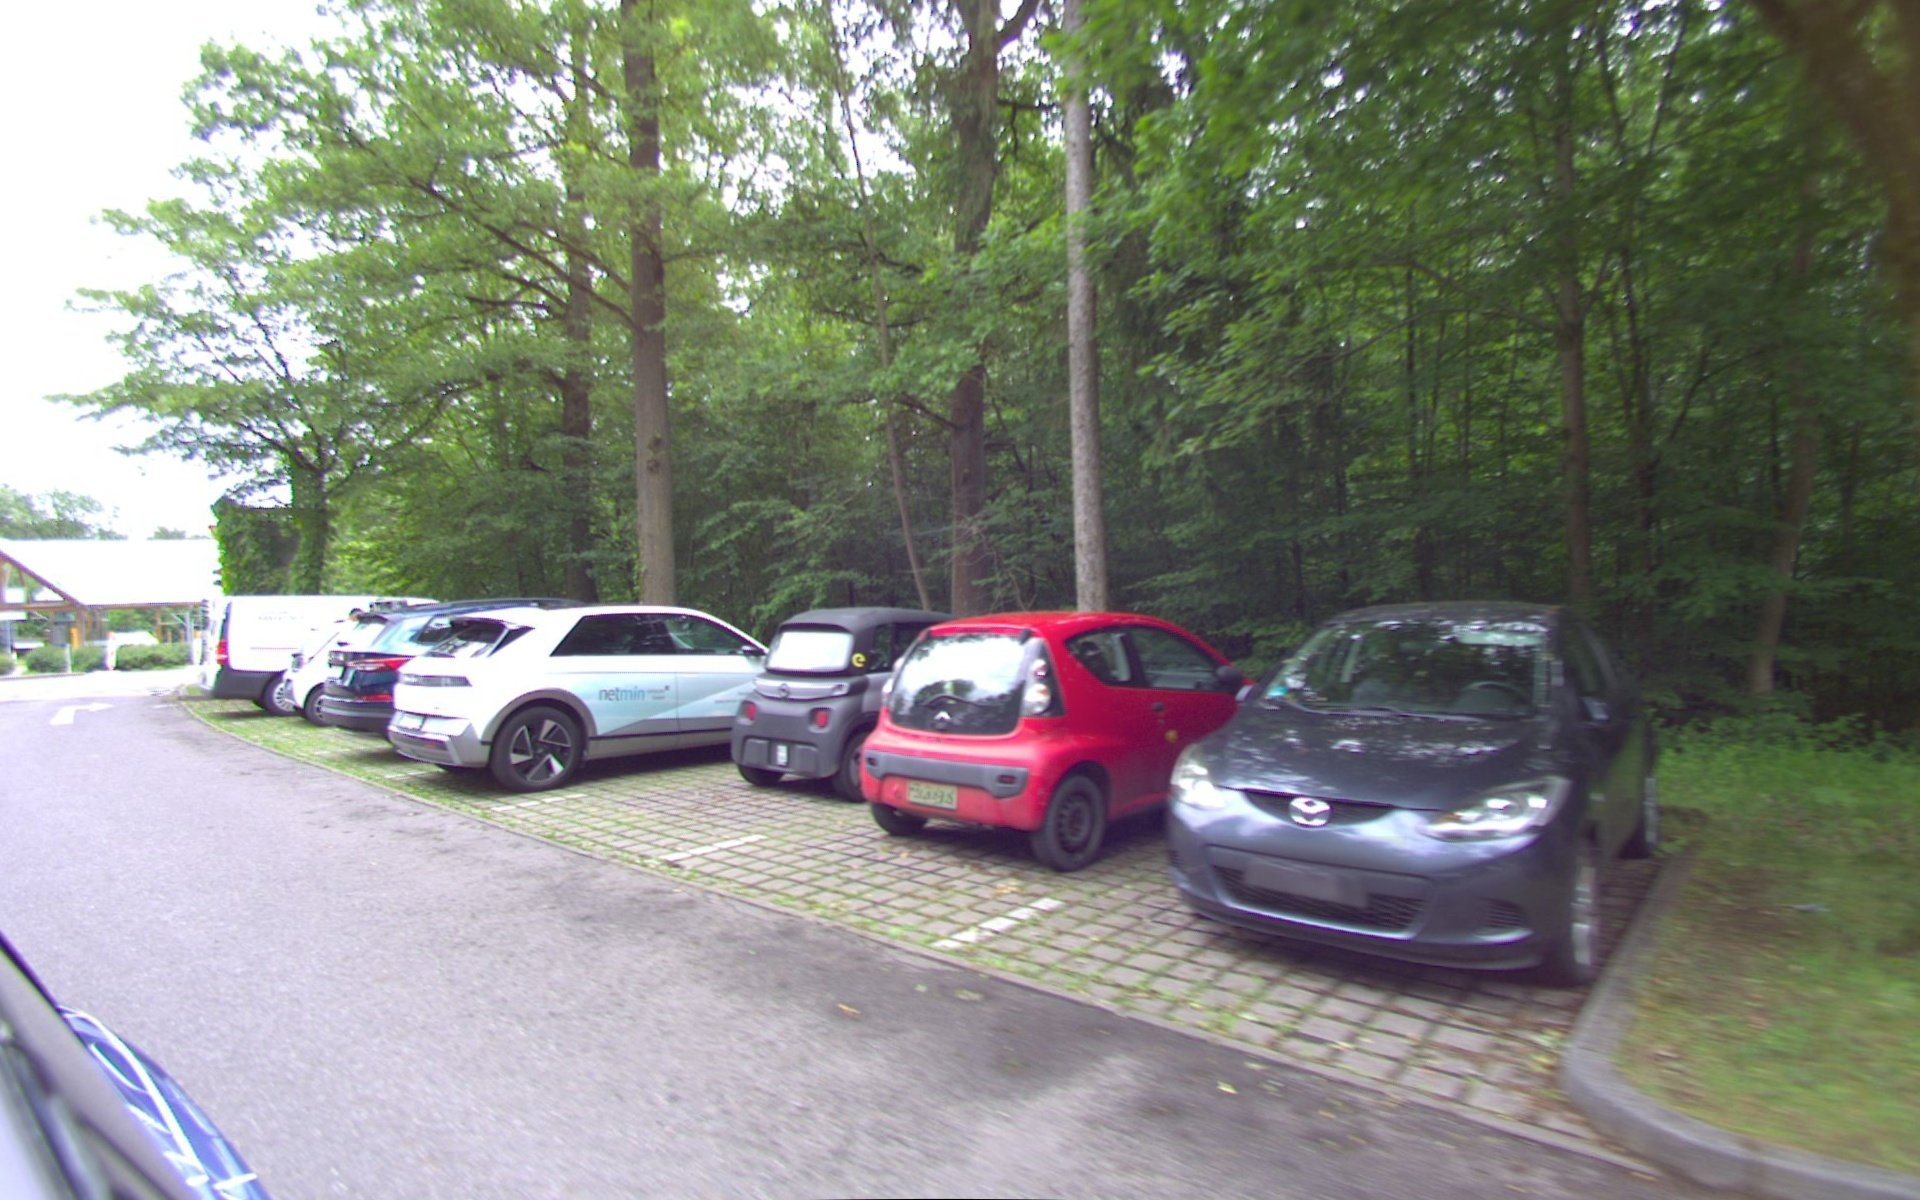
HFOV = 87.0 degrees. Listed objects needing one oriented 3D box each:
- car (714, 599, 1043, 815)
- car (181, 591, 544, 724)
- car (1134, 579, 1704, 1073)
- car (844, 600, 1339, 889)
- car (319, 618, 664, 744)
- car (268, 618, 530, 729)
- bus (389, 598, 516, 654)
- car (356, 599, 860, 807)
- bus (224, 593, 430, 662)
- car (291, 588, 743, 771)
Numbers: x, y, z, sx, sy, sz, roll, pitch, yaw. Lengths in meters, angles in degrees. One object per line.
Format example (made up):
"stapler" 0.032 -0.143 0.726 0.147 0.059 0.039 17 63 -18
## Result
"car" -0.631 0.808 8.921 1.444 1.553 2.633 -2 -1 40
"car" -9.951 0.862 17.143 5.024 1.930 1.981 0 -1 -42
"car" 2.623 0.726 5.179 1.705 1.502 3.948 -2 -2 39
"car" 1.101 0.766 7.114 1.674 1.485 3.567 -2 -1 43
"car" -6.309 0.995 13.929 1.823 1.456 3.943 -2 -2 43
"car" -8.367 1.045 15.198 3.185 1.478 1.658 1 -3 -40
"bus" -31.529 1.579 63.320 2.784 3.183 7.724 -4 -2 13
"car" -3.296 0.811 10.084 2.031 1.610 4.306 -1 -1 44
"bus" -33.527 1.413 54.396 2.784 3.183 10.474 -4 -2 13
"car" -5.044 0.767 11.904 4.374 1.707 2.172 -1 -1 -44
